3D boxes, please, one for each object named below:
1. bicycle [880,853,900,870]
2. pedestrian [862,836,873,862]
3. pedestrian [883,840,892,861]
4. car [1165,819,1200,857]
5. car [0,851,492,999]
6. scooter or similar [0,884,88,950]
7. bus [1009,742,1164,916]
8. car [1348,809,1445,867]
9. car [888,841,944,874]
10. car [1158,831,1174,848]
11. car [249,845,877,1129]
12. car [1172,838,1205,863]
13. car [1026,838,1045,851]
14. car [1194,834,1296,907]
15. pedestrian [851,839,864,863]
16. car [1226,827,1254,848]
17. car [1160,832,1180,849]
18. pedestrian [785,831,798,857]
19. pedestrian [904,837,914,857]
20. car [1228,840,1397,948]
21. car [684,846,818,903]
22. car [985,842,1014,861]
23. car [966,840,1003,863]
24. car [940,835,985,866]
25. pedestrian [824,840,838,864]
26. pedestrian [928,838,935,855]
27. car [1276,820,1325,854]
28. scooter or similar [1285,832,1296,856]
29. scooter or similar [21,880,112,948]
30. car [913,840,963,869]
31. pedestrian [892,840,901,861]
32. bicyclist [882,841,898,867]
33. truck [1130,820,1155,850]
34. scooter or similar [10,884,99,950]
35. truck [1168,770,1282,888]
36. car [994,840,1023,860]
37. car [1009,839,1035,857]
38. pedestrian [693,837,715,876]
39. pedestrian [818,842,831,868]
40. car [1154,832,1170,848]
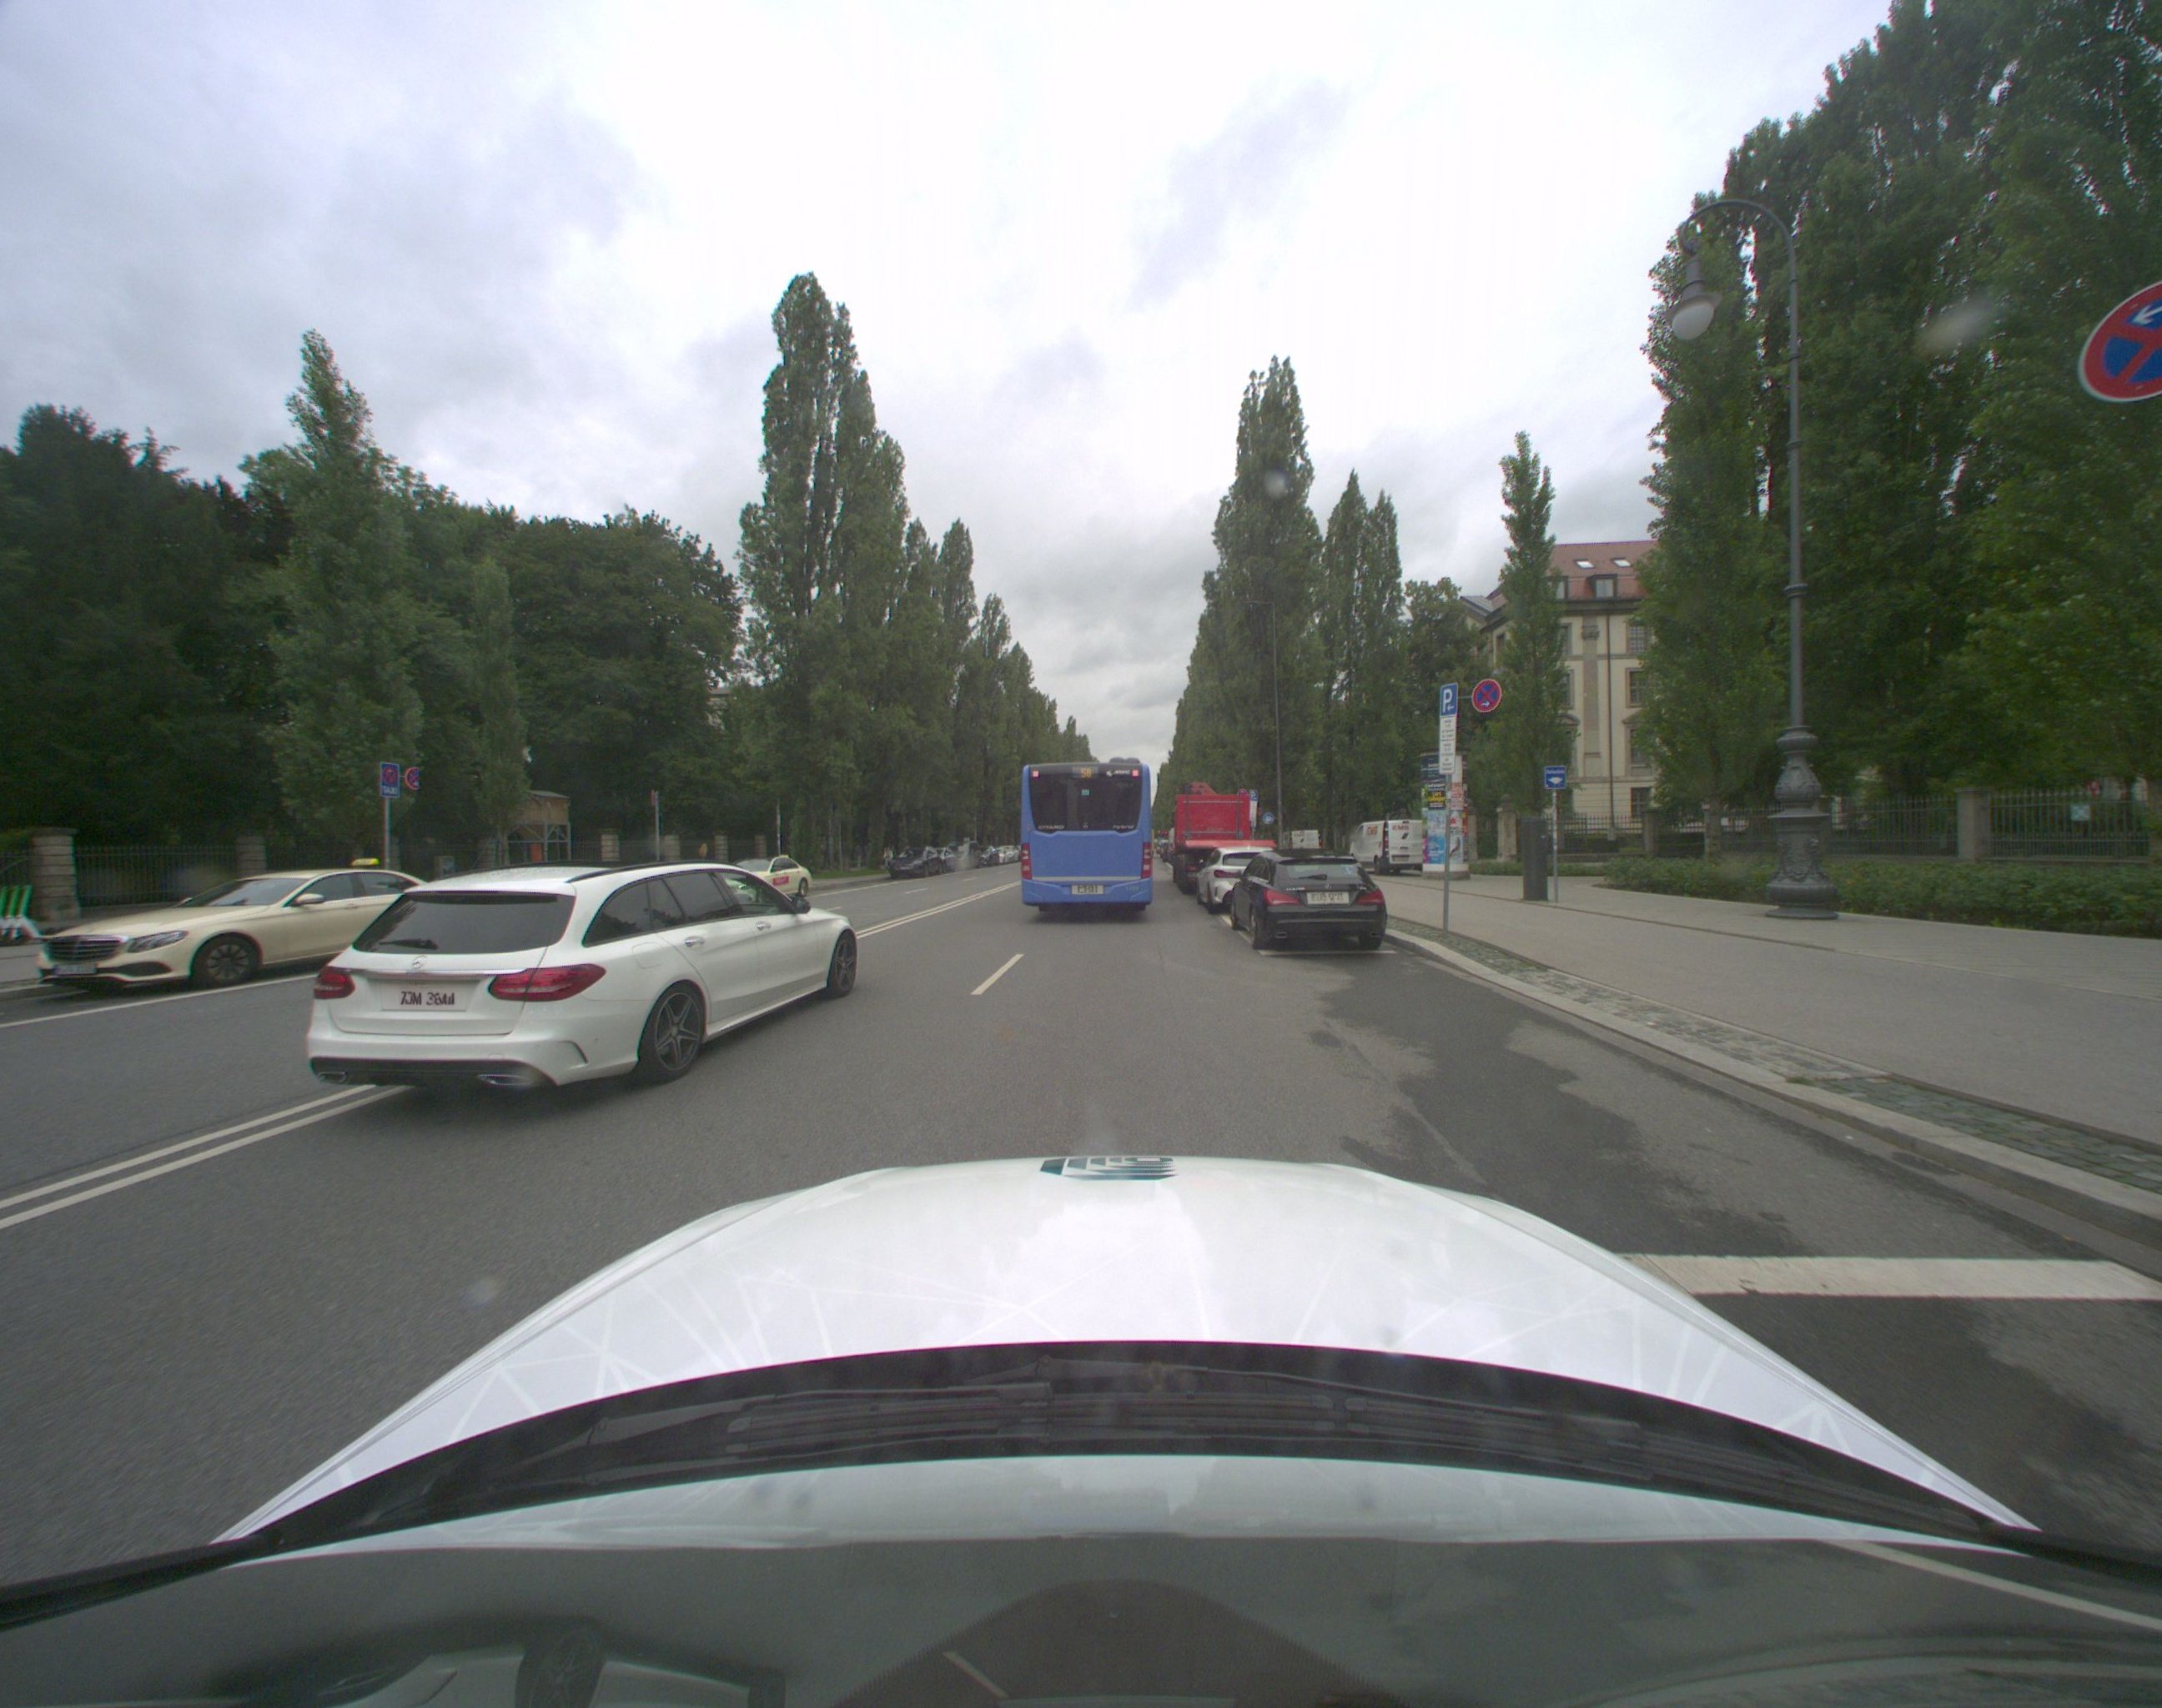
[{"bbox_3d":[-11.465,0.433,49.001,0.704,0.939,1.737,-1,1,3],"label":"bicycle"},{"bbox_3d":[-16.710,-0.433,63.704,0.663,2.013,0.639,-1,1,3],"label":"pedestrian"},{"bbox_3d":[-16.031,-0.262,67.382,0.506,1.707,0.570,-1,1,5],"label":"pedestrian"},{"bbox_3d":[7.115,-1.142,57.550,2.065,2.478,6.291,-1,1,4],"label":"car"},{"bbox_3d":[-11.591,0.826,11.964,1.929,1.624,4.971,-2,0,4],"label":"car"},{"bbox_3d":[-20.721,1.240,16.281,0.242,1.201,1.124,-2,1,5],"label":"scooter or similar"},{"bbox_3d":[0.269,-0.567,19.807,2.845,3.213,9.065,-1,1,2],"label":"bus"},{"bbox_3d":[11.382,-0.602,29.718,1.872,1.944,4.889,0,1,3],"label":"car"},{"bbox_3d":[-9.018,0.149,44.884,1.774,1.595,4.619,-3,1,4],"label":"car"},{"bbox_3d":[10.525,-1.796,100.932,1.797,1.976,4.243,-1,1,5],"label":"car"},{"bbox_3d":[-3.364,0.682,6.634,1.816,1.454,4.591,-1,1,6],"label":"car"},{"bbox_3d":[6.589,-0.244,50.129,1.746,1.449,4.005,1,1,4],"label":"car"},{"bbox_3d":[-5.313,-1.106,95.224,1.678,1.413,4.009,-3,1,3],"label":"car"},{"bbox_3d":[3.636,0.290,18.716,1.780,1.460,4.223,-1,1,4],"label":"car"},{"bbox_3d":[-17.441,-0.271,63.555,0.743,1.854,0.758,-1,1,5],"label":"pedestrian"},{"bbox_3d":[15.823,-1.628,81.364,1.985,1.925,5.330,-1,1,4],"label":"car"},{"bbox_3d":[8.493,-1.322,78.061,1.773,1.581,4.152,0,1,4],"label":"car"},{"bbox_3d":[-22.515,-0.809,63.296,0.694,2.013,0.561,-1,1,4],"label":"pedestrian"},{"bbox_3d":[-15.326,-0.652,72.599,0.606,1.756,0.758,-2,1,3],"label":"pedestrian"},{"bbox_3d":[3.376,0.485,12.678,1.727,1.310,4.377,-2,1,5],"label":"car"},{"bbox_3d":[-10.448,0.575,26.236,1.921,1.497,4.798,-2,2,5],"label":"car"},{"bbox_3d":[-6.981,-0.247,69.928,1.669,1.422,4.242,-3,1,4],"label":"car"},{"bbox_3d":[-7.418,-0.232,63.297,1.807,1.608,5.059,-4,1,4],"label":"car"},{"bbox_3d":[-8.160,-0.284,56.690,1.984,1.956,4.943,-3,1,4],"label":"car"},{"bbox_3d":[-17.933,-0.134,58.330,0.663,1.722,0.734,-2,1,5],"label":"pedestrian"},{"bbox_3d":[-15.579,-0.782,84.689,0.547,1.747,0.673,-1,1,3],"label":"pedestrian"},{"bbox_3d":[13.298,-1.037,49.643,1.984,1.946,5.091,-2,1,5],"label":"car"},{"bbox_3d":[11.166,-0.541,43.390,0.335,1.265,1.187,-2,1,5],"label":"scooter or similar"},{"bbox_3d":[-20.192,1.178,16.238,0.257,1.242,1.142,-2,1,5],"label":"scooter or similar"},{"bbox_3d":[-8.807,-0.008,50.403,1.882,1.584,4.660,-3,1,4],"label":"car"},{"bbox_3d":[-15.266,-0.260,67.403,0.506,1.707,0.570,-1,1,5],"label":"pedestrian"},{"bbox_3d":[-11.484,-0.012,48.962,0.691,1.498,0.862,-2,1,3],"label":"bicyclist"},{"bbox_3d":[6.272,-1.916,83.417,2.317,2.898,7.341,-1,1,4],"label":"truck"},{"bbox_3d":[-20.459,1.236,16.259,0.242,1.201,1.124,-2,1,5],"label":"scooter or similar"},{"bbox_3d":[4.446,-0.786,27.219,2.701,3.109,10.441,-2,1,5],"label":"truck"},{"bbox_3d":[-6.590,-0.397,74.818,1.777,1.588,4.468,-4,1,5],"label":"car"},{"bbox_3d":[-5.849,-0.616,81.084,1.872,1.658,4.723,-4,1,3],"label":"car"},{"bbox_3d":[-16.857,0.090,36.425,0.580,1.720,0.787,-1,1,3],"label":"pedestrian"},{"bbox_3d":[-17.159,0.068,54.476,0.615,1.659,0.705,-1,1,5],"label":"pedestrian"},{"bbox_3d":[10.815,-1.895,109.029,2.043,2.013,5.701,-2,1,5],"label":"car"}]
